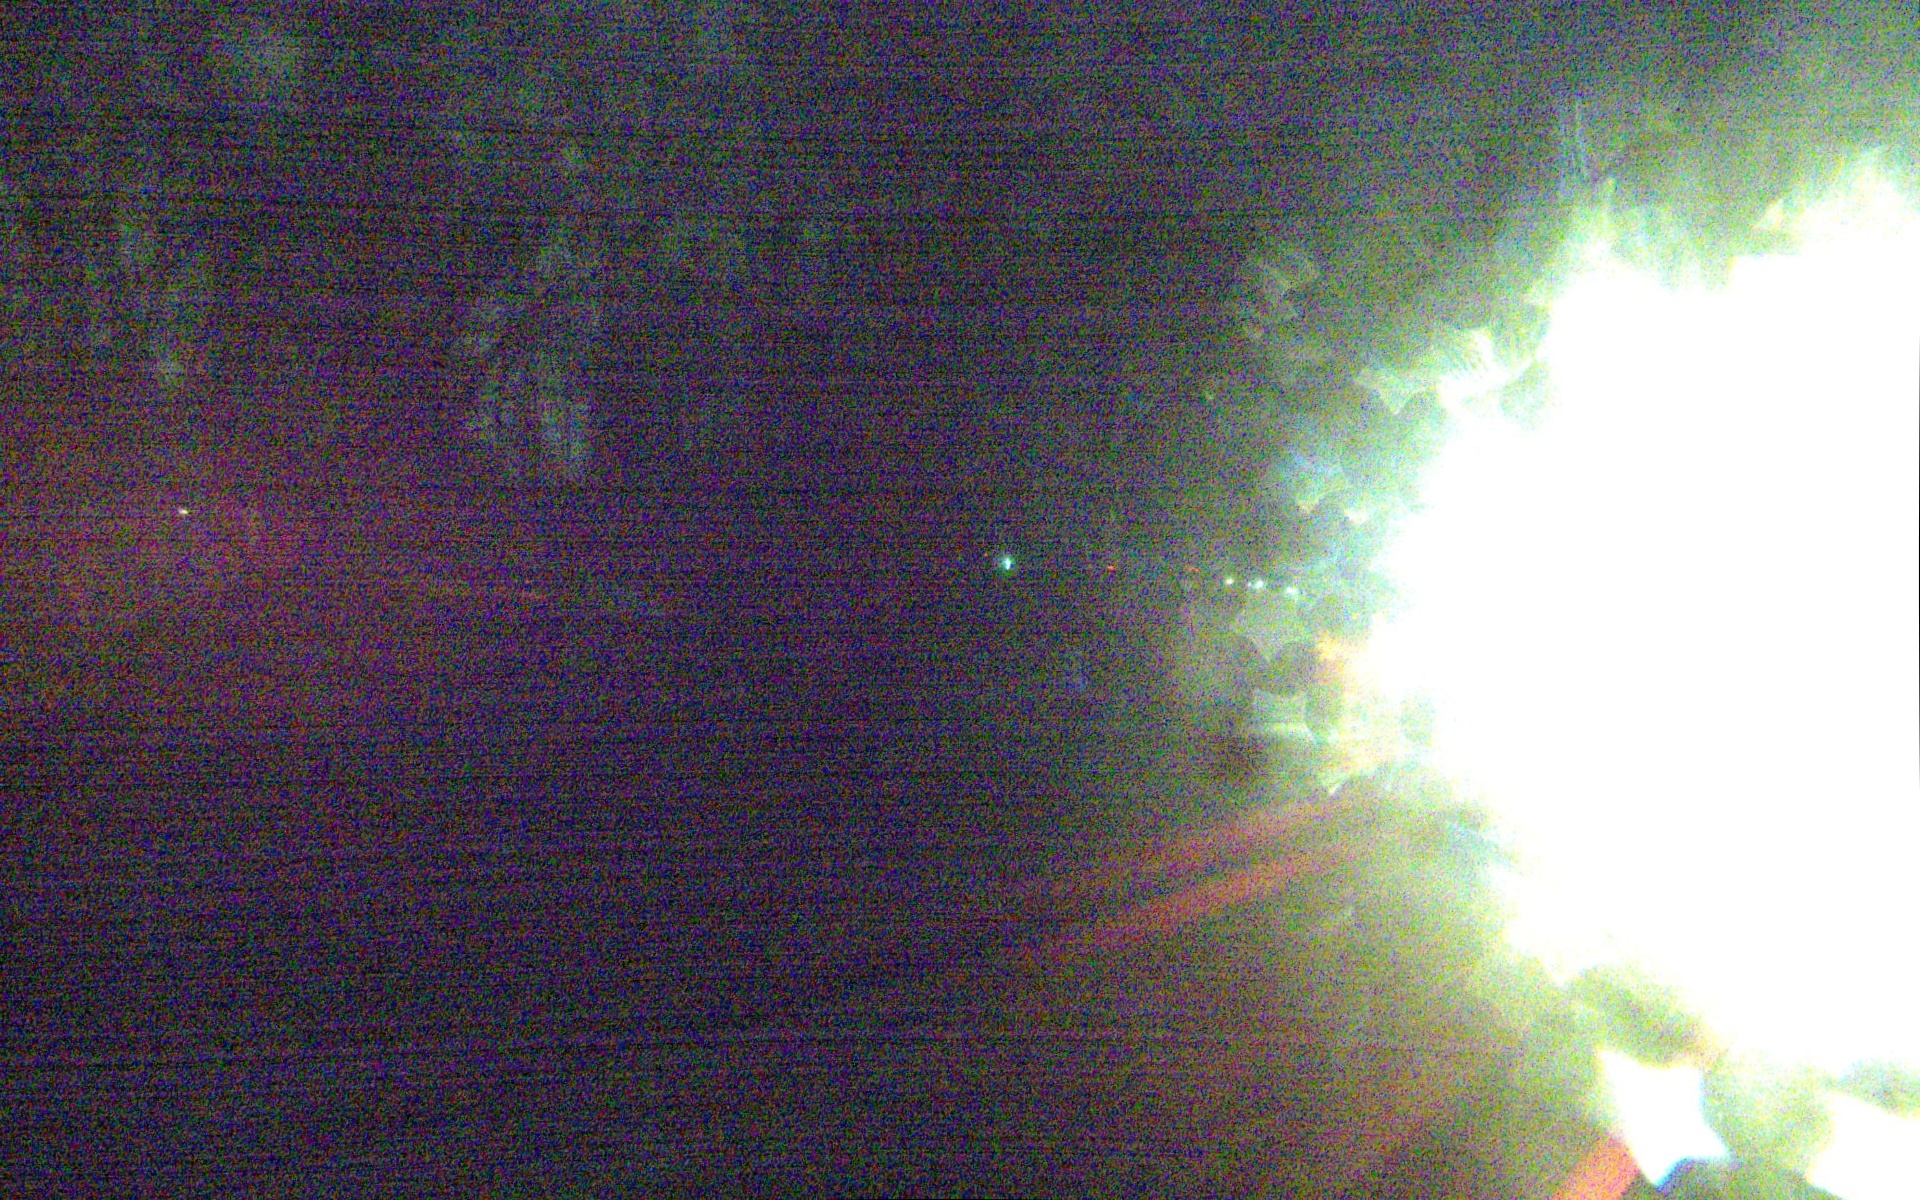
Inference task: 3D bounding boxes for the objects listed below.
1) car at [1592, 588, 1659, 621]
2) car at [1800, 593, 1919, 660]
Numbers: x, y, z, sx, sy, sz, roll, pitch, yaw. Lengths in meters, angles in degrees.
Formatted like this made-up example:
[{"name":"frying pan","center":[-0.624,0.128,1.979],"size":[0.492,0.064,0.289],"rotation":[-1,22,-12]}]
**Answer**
[{"name":"car","center":[31.705,0.259,48.338],"size":[1.828,1.468,3.846],"rotation":[-2,-2,21]},{"name":"car","center":[22.075,0.587,24.714],"size":[1.836,1.467,3.955],"rotation":[1,1,32]}]
